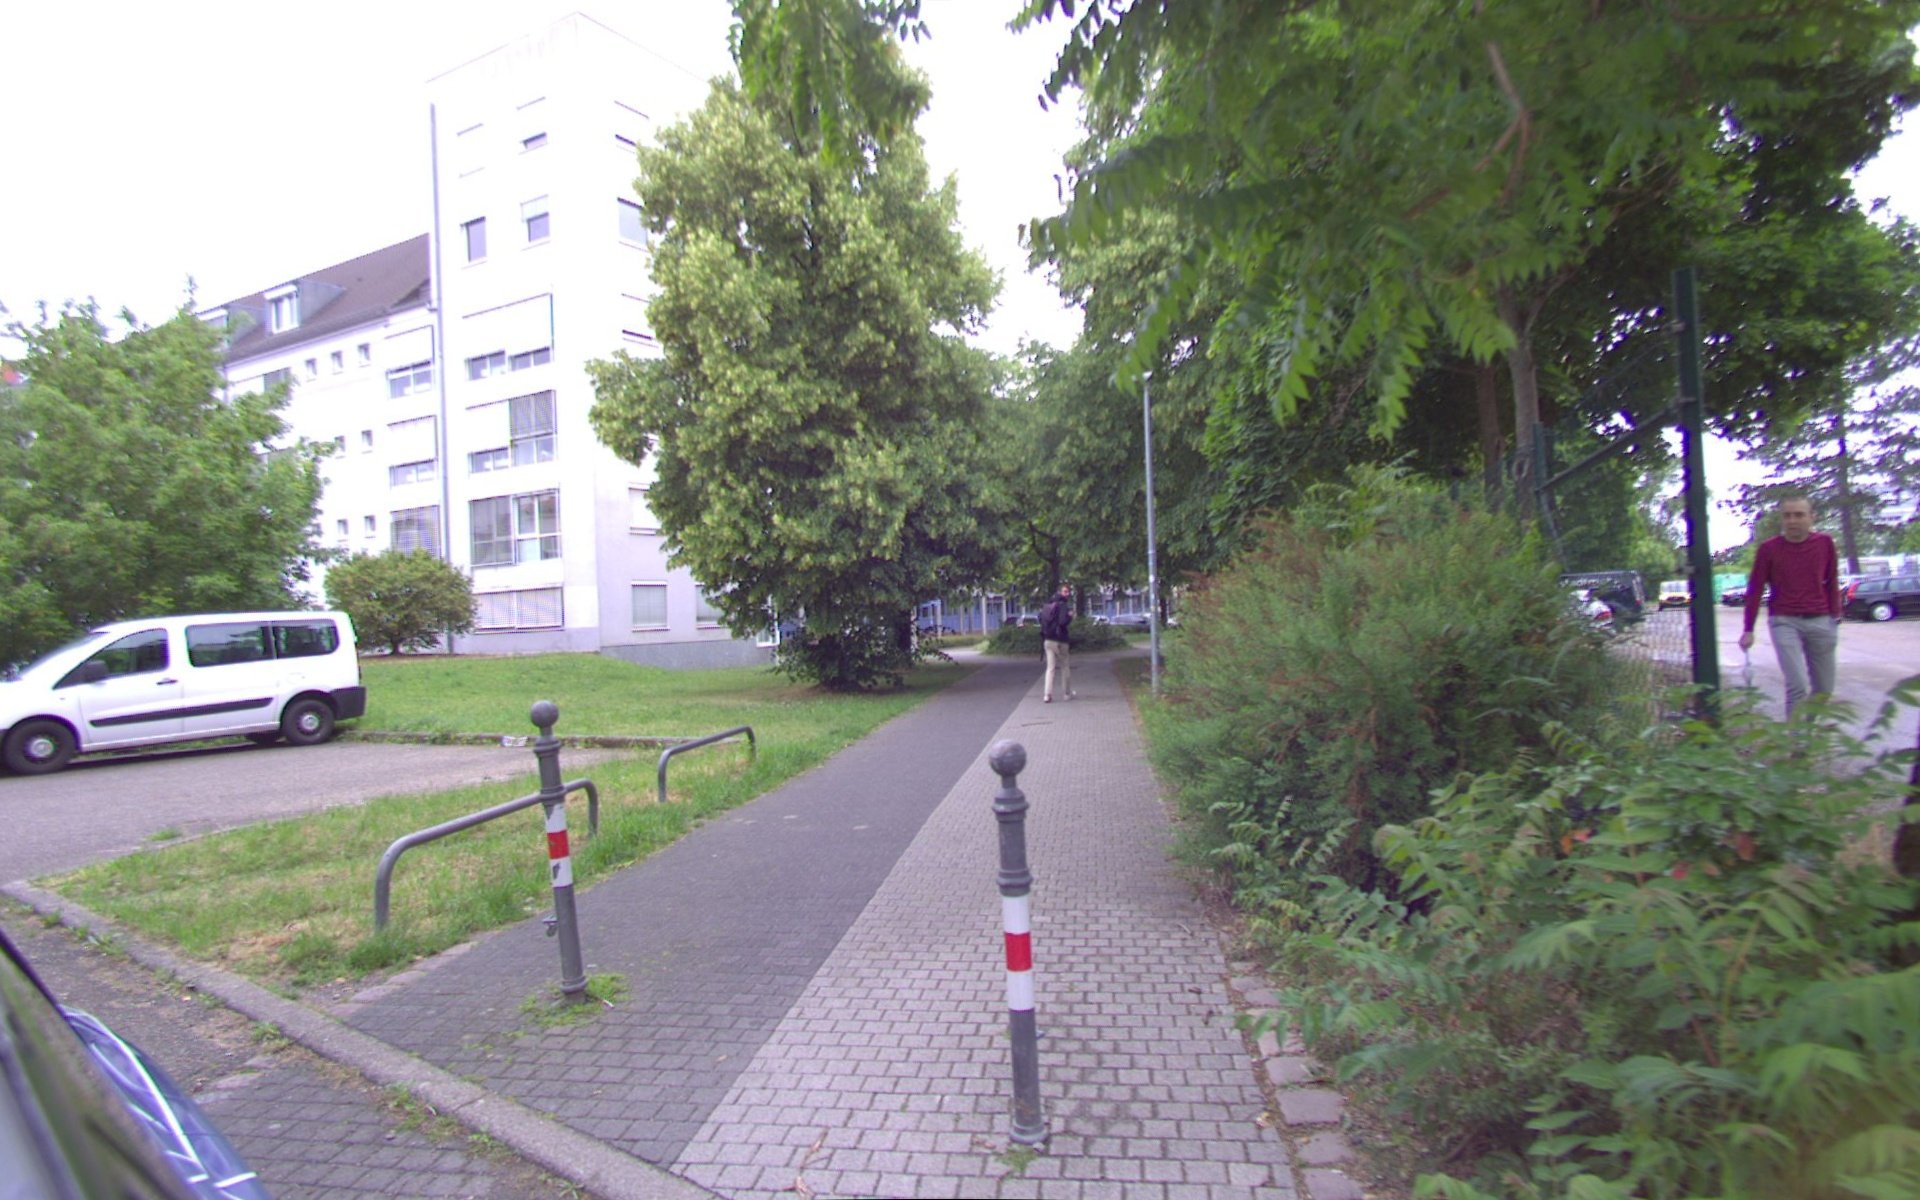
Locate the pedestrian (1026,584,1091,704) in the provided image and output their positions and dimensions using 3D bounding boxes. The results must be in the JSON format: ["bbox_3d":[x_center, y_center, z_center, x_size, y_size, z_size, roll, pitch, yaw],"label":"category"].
[{"bbox_3d":[1.486,0.652,15.271,0.681,1.762,0.613,-3,-1,39],"label":"pedestrian"}]

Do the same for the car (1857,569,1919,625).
[{"bbox_3d":[33.106,-0.137,34.277,3.999,1.852,1.972,-3,-1,42],"label":"car"}]

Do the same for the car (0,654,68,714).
[{"bbox_3d":[-30.379,2.658,30.910,1.991,1.748,4.300,-3,-1,28],"label":"car"}]

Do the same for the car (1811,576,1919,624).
[{"bbox_3d":[38.892,0.000,43.055,3.999,1.852,1.972,-3,-1,42],"label":"car"}]

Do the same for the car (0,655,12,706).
[{"bbox_3d":[-34.987,2.842,33.913,1.991,1.748,4.300,-3,-1,28],"label":"car"}]

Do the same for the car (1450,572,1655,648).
[{"bbox_3d":[13.691,0.246,23.660,3.861,1.586,1.739,-2,-1,23],"label":"car"}]

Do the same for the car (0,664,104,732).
[{"bbox_3d":[-27.829,2.875,29.246,1.991,1.748,4.300,-3,-1,28],"label":"car"}]

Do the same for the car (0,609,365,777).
[{"bbox_3d":[-11.103,1.187,13.834,1.898,1.887,4.716,-6,-3,36],"label":"car"}]

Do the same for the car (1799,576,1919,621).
[{"bbox_3d":[40.982,-0.057,46.178,3.999,1.852,1.972,-3,-1,42],"label":"car"}]

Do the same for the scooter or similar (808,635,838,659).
[{"bbox_3d":[-7.395,2.527,54.811,0.788,1.197,2.508,-2,-1,13],"label":"scooter or similar"}]

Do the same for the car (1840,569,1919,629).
[{"bbox_3d":[30.757,-0.063,32.271,3.999,1.852,1.972,-3,-1,42],"label":"car"}]

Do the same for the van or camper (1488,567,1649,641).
[{"bbox_3d":[20.598,0.166,34.312,4.491,2.275,1.976,-3,-1,35],"label":"van or camper"}]

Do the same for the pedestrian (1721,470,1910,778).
[{"bbox_3d":[6.315,0.171,7.553,0.792,2.080,1.189,-3,-1,30],"label":"pedestrian"}]
